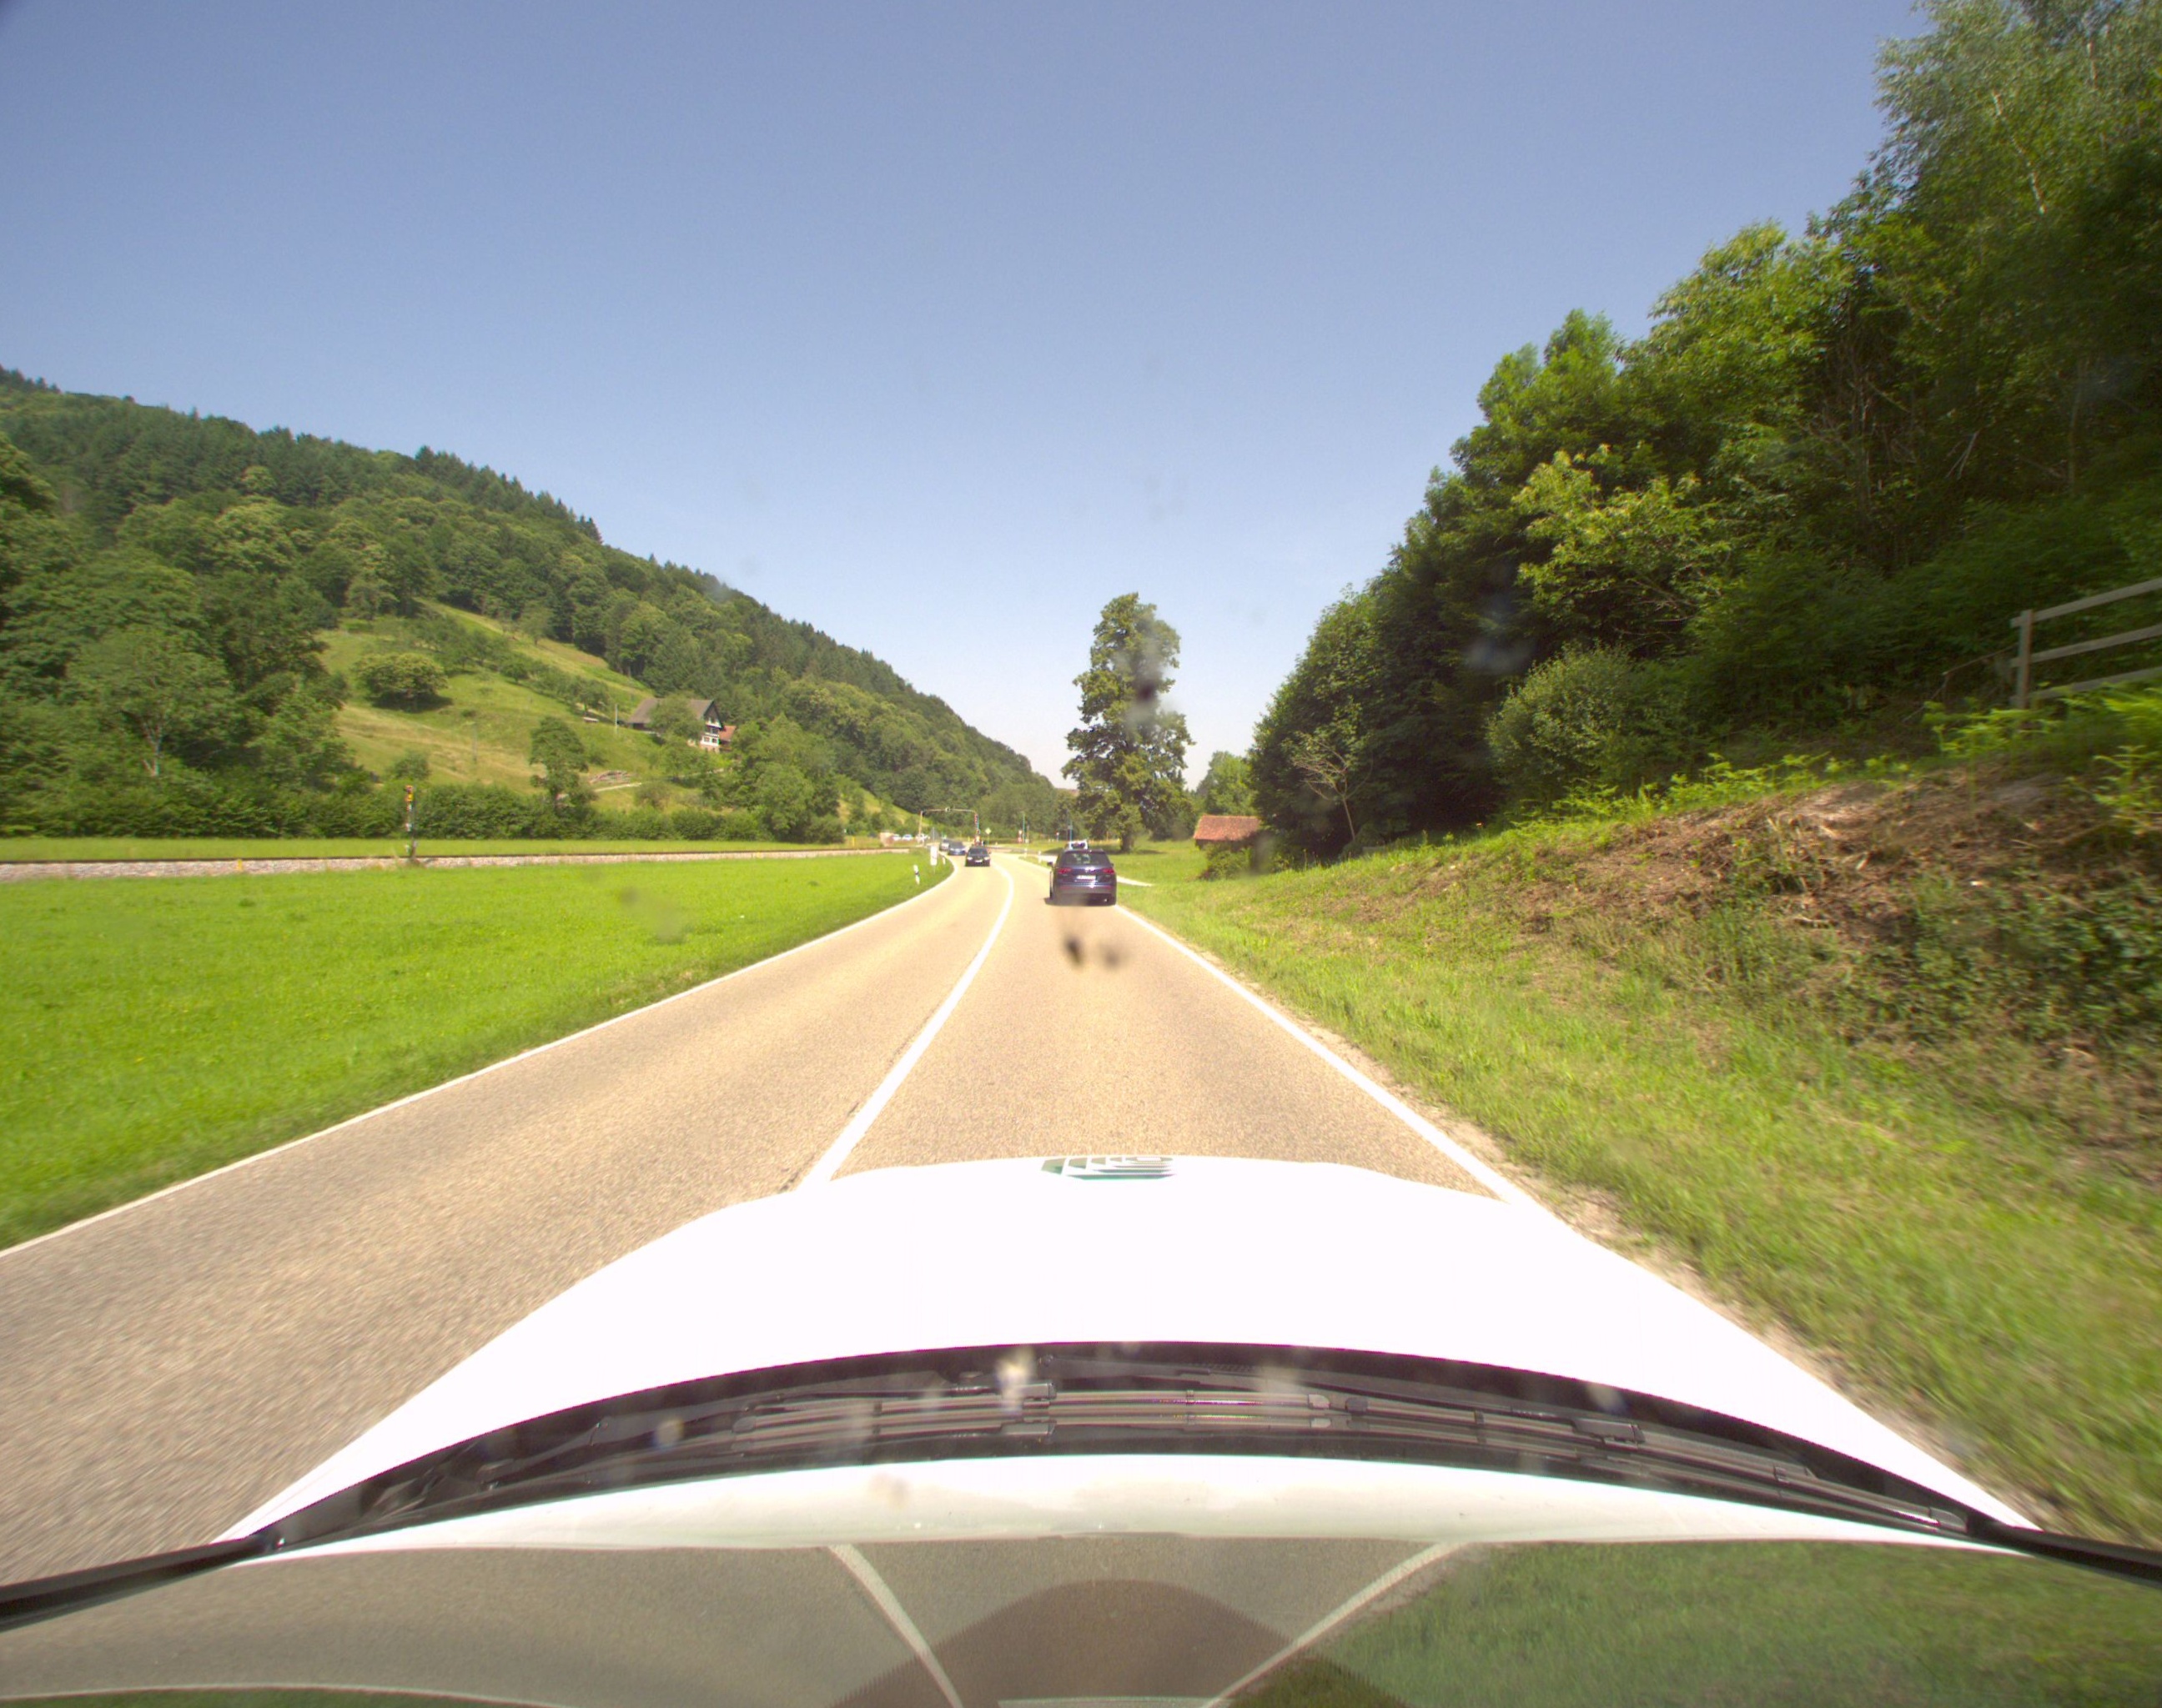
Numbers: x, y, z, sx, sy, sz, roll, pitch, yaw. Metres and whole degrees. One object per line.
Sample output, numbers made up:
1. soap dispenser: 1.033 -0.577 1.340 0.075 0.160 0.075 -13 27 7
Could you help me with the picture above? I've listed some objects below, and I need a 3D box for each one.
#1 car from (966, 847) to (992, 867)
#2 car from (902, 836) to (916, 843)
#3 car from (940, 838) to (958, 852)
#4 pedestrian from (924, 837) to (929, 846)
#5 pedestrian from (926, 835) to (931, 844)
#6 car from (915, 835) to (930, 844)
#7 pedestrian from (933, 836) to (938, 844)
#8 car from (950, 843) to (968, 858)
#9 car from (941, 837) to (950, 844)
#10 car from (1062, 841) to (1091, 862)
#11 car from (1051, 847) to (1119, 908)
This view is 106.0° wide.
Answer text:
1. car: -8.044 0.180 64.242 1.914 1.470 4.500 0 1 -7
2. car: -37.675 -3.162 178.281 1.986 1.641 4.905 1 1 2
3. car: -17.298 -1.178 106.668 1.919 1.714 4.138 0 1 -16
4. pedestrian: -32.512 -2.598 171.089 0.782 1.842 0.701 0 1 11
5. pedestrian: -32.208 -3.048 172.288 0.761 1.796 0.799 1 1 28
6. car: -34.846 -3.185 178.785 1.862 1.782 4.779 2 1 5
7. pedestrian: -30.887 -2.974 172.475 0.641 1.858 0.776 1 1 35
8. car: -13.925 -0.422 93.092 1.864 1.623 4.499 1 1 -8
9. car: -29.497 -2.980 177.327 1.825 1.500 4.266 0 1 -8
10. car: -0.462 -0.271 78.468 1.998 1.848 4.855 -4 2 -8
11. car: 0.043 0.642 24.533 1.848 1.649 4.136 -1 0 -2
